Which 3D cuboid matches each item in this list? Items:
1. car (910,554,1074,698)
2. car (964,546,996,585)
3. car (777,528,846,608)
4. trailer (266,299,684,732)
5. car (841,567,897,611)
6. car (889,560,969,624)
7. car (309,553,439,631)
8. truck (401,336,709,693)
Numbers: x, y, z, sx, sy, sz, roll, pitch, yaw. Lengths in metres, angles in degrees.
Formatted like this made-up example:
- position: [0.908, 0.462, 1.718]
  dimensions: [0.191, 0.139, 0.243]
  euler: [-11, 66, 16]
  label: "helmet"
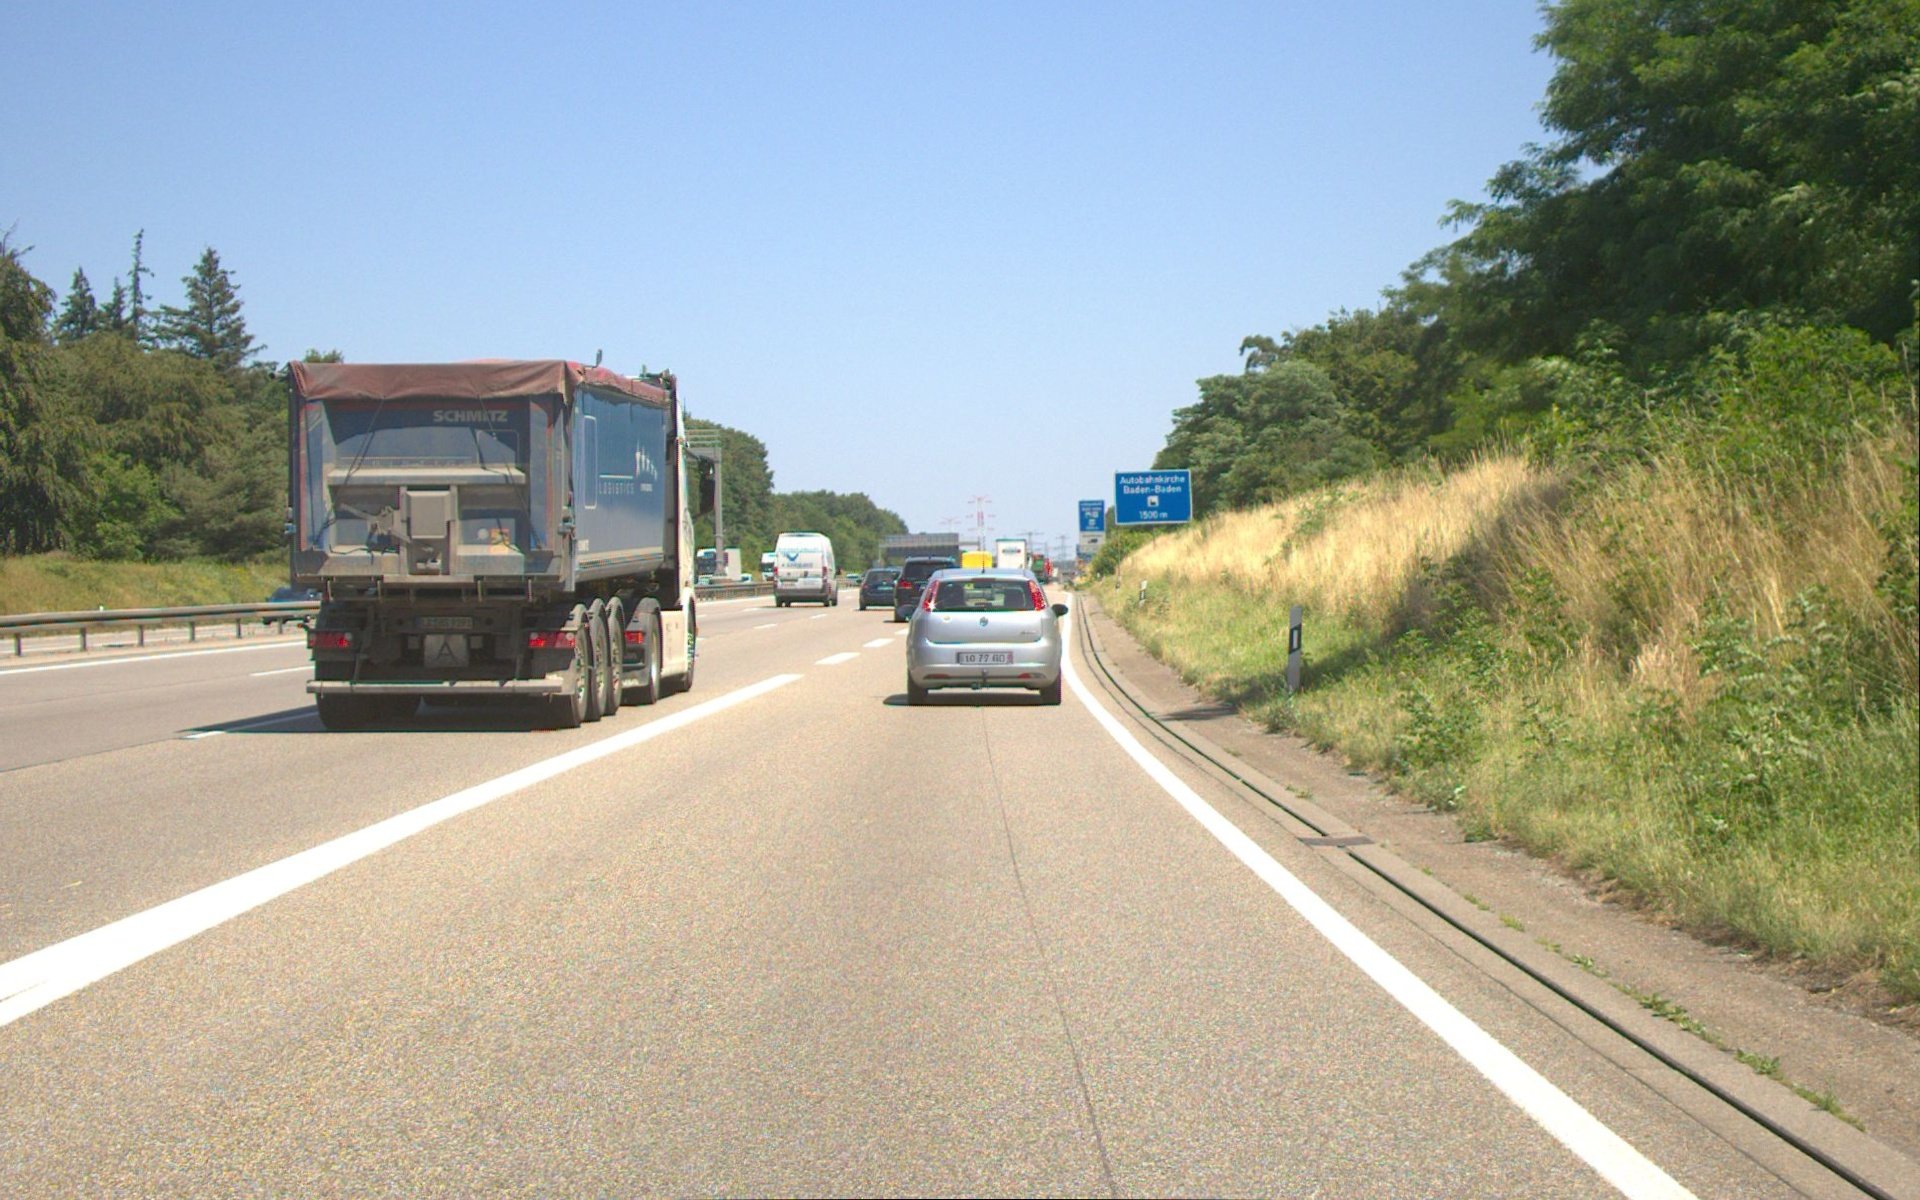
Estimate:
- position: [0.334, 0.250, 37.993]
  dimensions: [1.719, 1.486, 3.737]
  euler: [0, 1, 0]
  label: "car"
- position: [1.029, -1.784, 179.301]
  dimensions: [1.611, 2.007, 4.000]
  euler: [0, 1, 1]
  label: "car"
- position: [-5.644, -1.238, 131.323]
  dimensions: [2.260, 2.940, 6.113]
  euler: [0, 1, 1]
  label: "car"
- position: [-4.602, -0.823, 34.591]
  dimensions: [2.737, 3.746, 9.109]
  euler: [-1, 1, 1]
  label: "trailer"
- position: [-3.188, -0.392, 119.534]
  dimensions: [1.894, 1.464, 4.262]
  euler: [0, 1, -2]
  label: "car"
- position: [-0.817, -0.219, 93.106]
  dimensions: [1.832, 1.666, 3.999]
  euler: [1, 0, 4]
  label: "car"
- position: [-11.853, -0.191, 69.811]
  dimensions: [1.703, 1.469, 4.597]
  euler: [-1, 1, 2]
  label: "car"
- position: [-4.505, -0.960, 39.377]
  dimensions: [2.684, 3.746, 5.944]
  euler: [-1, 1, 1]
  label: "truck"
